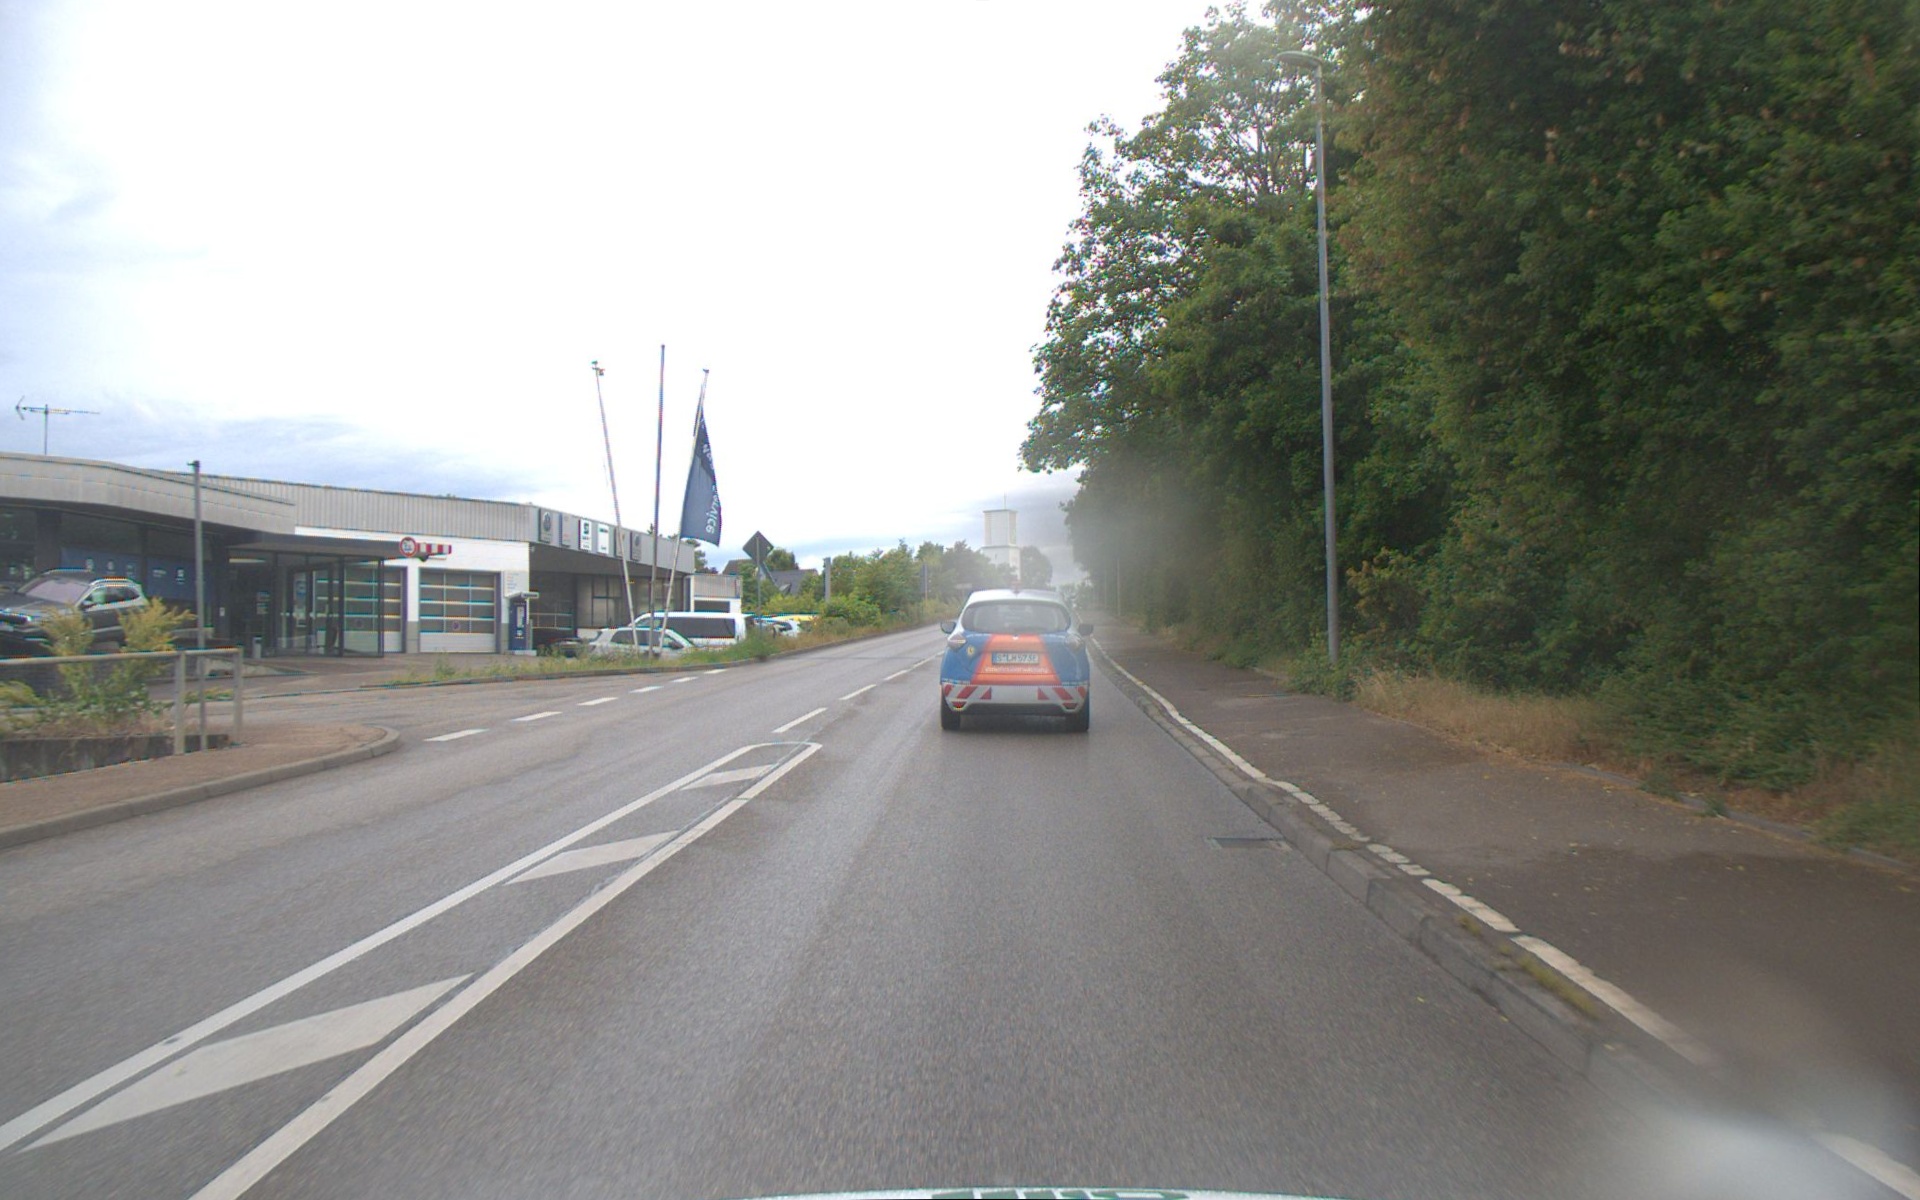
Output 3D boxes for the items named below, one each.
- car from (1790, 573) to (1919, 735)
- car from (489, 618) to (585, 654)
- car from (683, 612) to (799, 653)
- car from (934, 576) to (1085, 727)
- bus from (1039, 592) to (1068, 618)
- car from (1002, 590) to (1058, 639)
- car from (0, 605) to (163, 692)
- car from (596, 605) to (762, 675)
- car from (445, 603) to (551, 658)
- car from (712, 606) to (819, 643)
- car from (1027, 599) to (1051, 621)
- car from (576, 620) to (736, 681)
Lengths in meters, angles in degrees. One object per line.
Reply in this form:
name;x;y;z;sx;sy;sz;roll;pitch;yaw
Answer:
car;9.532;0.444;15.504;3.107;1.408;1.678;-1;0;-29
car;-17.965;1.533;70.225;3.943;1.441;1.945;-1;0;37
car;-8.329;1.234;63.236;4.139;1.392;1.875;-1;0;0
car;0.645;0.598;19.643;1.622;1.621;3.569;0;-1;3
bus;12.698;0.739;225.452;2.852;3.225;11.462;-2;-1;-2
car;2.457;0.528;58.871;1.766;1.618;3.562;-2;-1;-1
car;-19.946;1.064;37.466;1.369;1.831;4.254;-2;-1;5
car;-7.992;1.124;47.251;4.321;1.829;1.935;-1;0;2
car;-19.127;1.269;68.433;4.399;1.994;1.979;-4;-2;39
car;-7.716;0.960;65.827;3.979;1.313;1.804;-1;0;0
car;5.558;0.716;117.021;1.581;1.432;3.497;-2;-1;1
car;-8.164;1.352;44.648;3.926;1.504;1.824;-1;0;2
